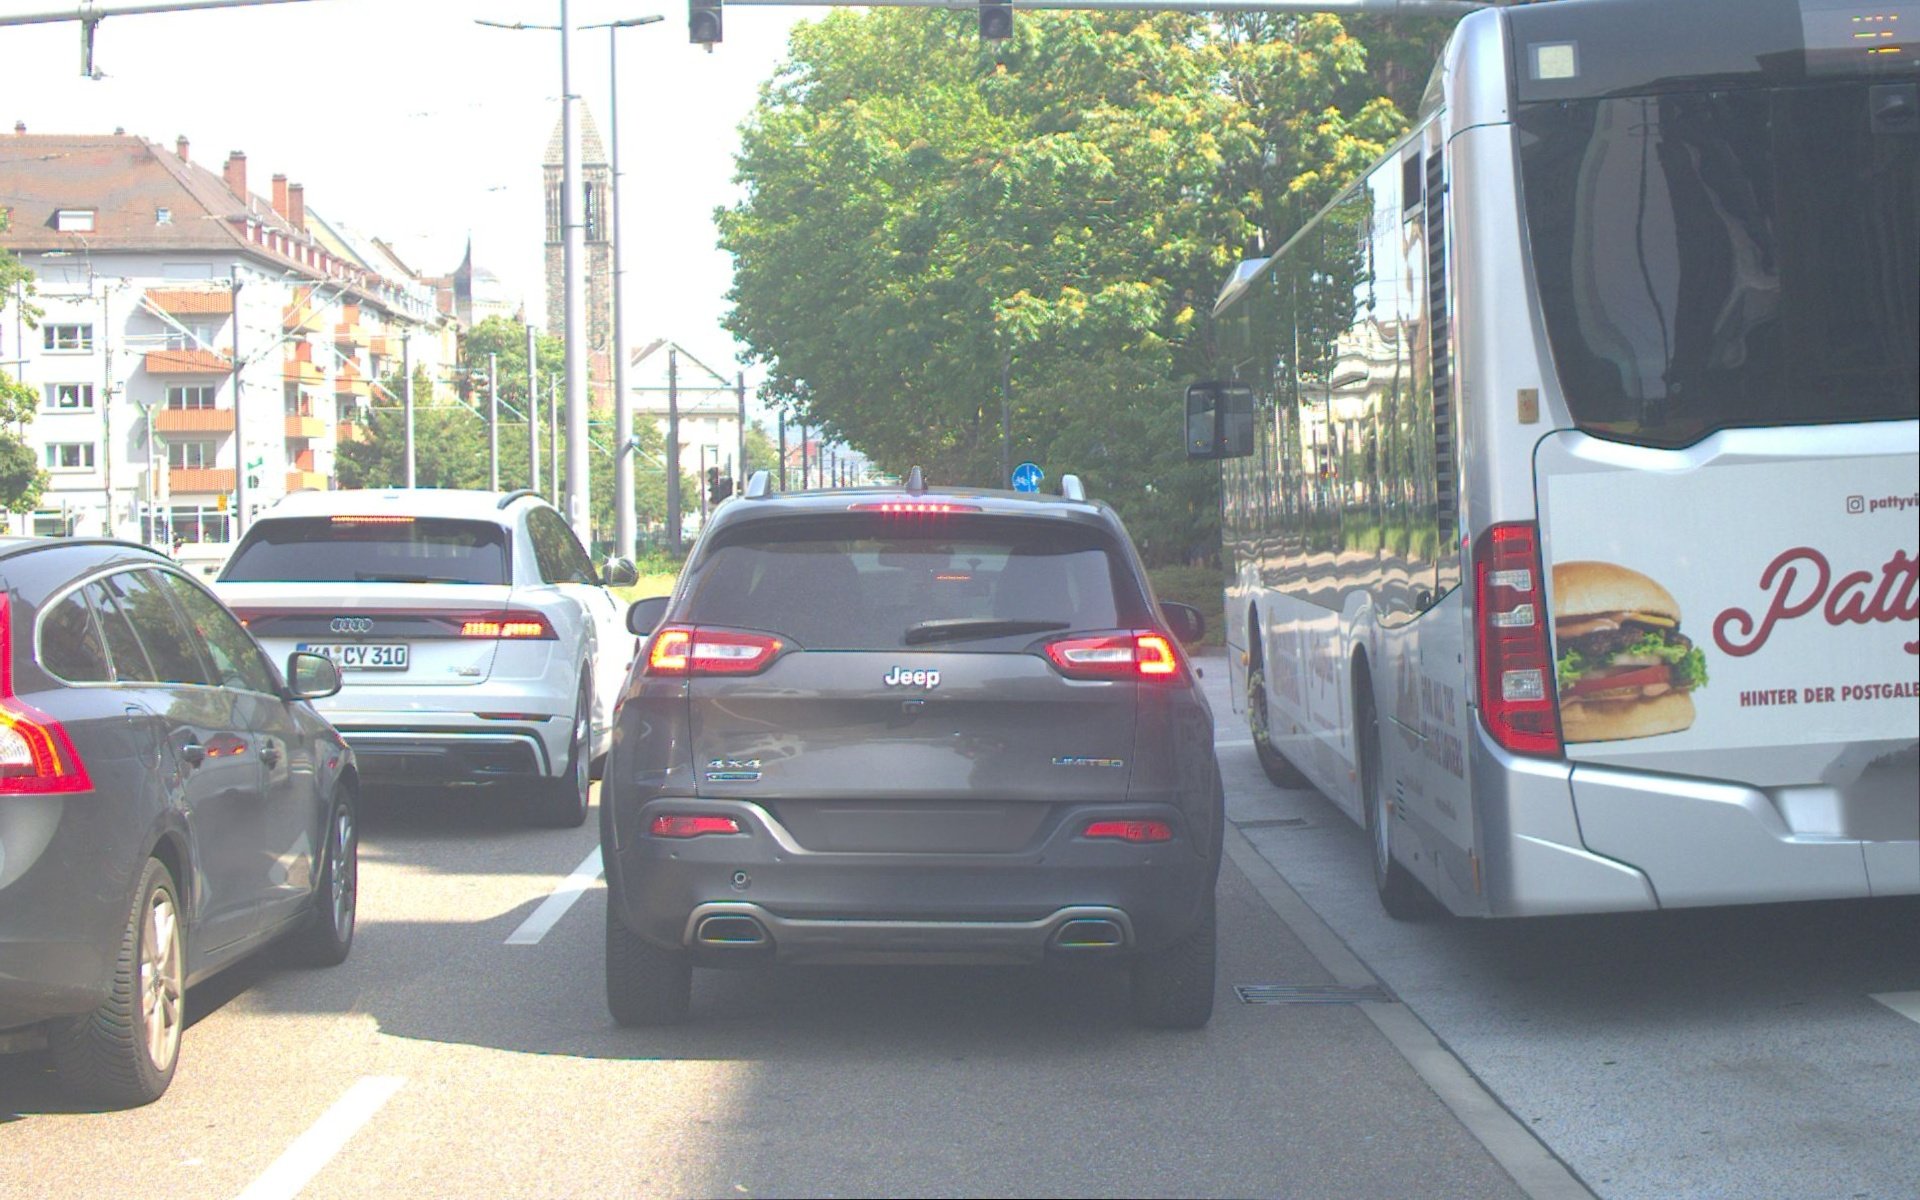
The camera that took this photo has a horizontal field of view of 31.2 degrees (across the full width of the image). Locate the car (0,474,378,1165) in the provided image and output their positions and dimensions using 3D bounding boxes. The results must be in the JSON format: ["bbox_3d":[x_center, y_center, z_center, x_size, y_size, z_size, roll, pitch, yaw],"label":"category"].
[{"bbox_3d":[-2.926,0.455,10.142,1.747,1.609,4.309,0,1,-1],"label":"car"}]

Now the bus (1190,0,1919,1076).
[{"bbox_3d":[2.820,-0.421,15.556,2.743,3.096,11.956,-3,1,1],"label":"bus"}]

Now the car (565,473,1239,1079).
[{"bbox_3d":[-0.155,0.430,11.576,1.832,1.646,4.308,1,1,0],"label":"car"}]

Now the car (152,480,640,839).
[{"bbox_3d":[-2.790,0.218,17.951,1.902,1.646,4.309,0,2,-1],"label":"car"}]
